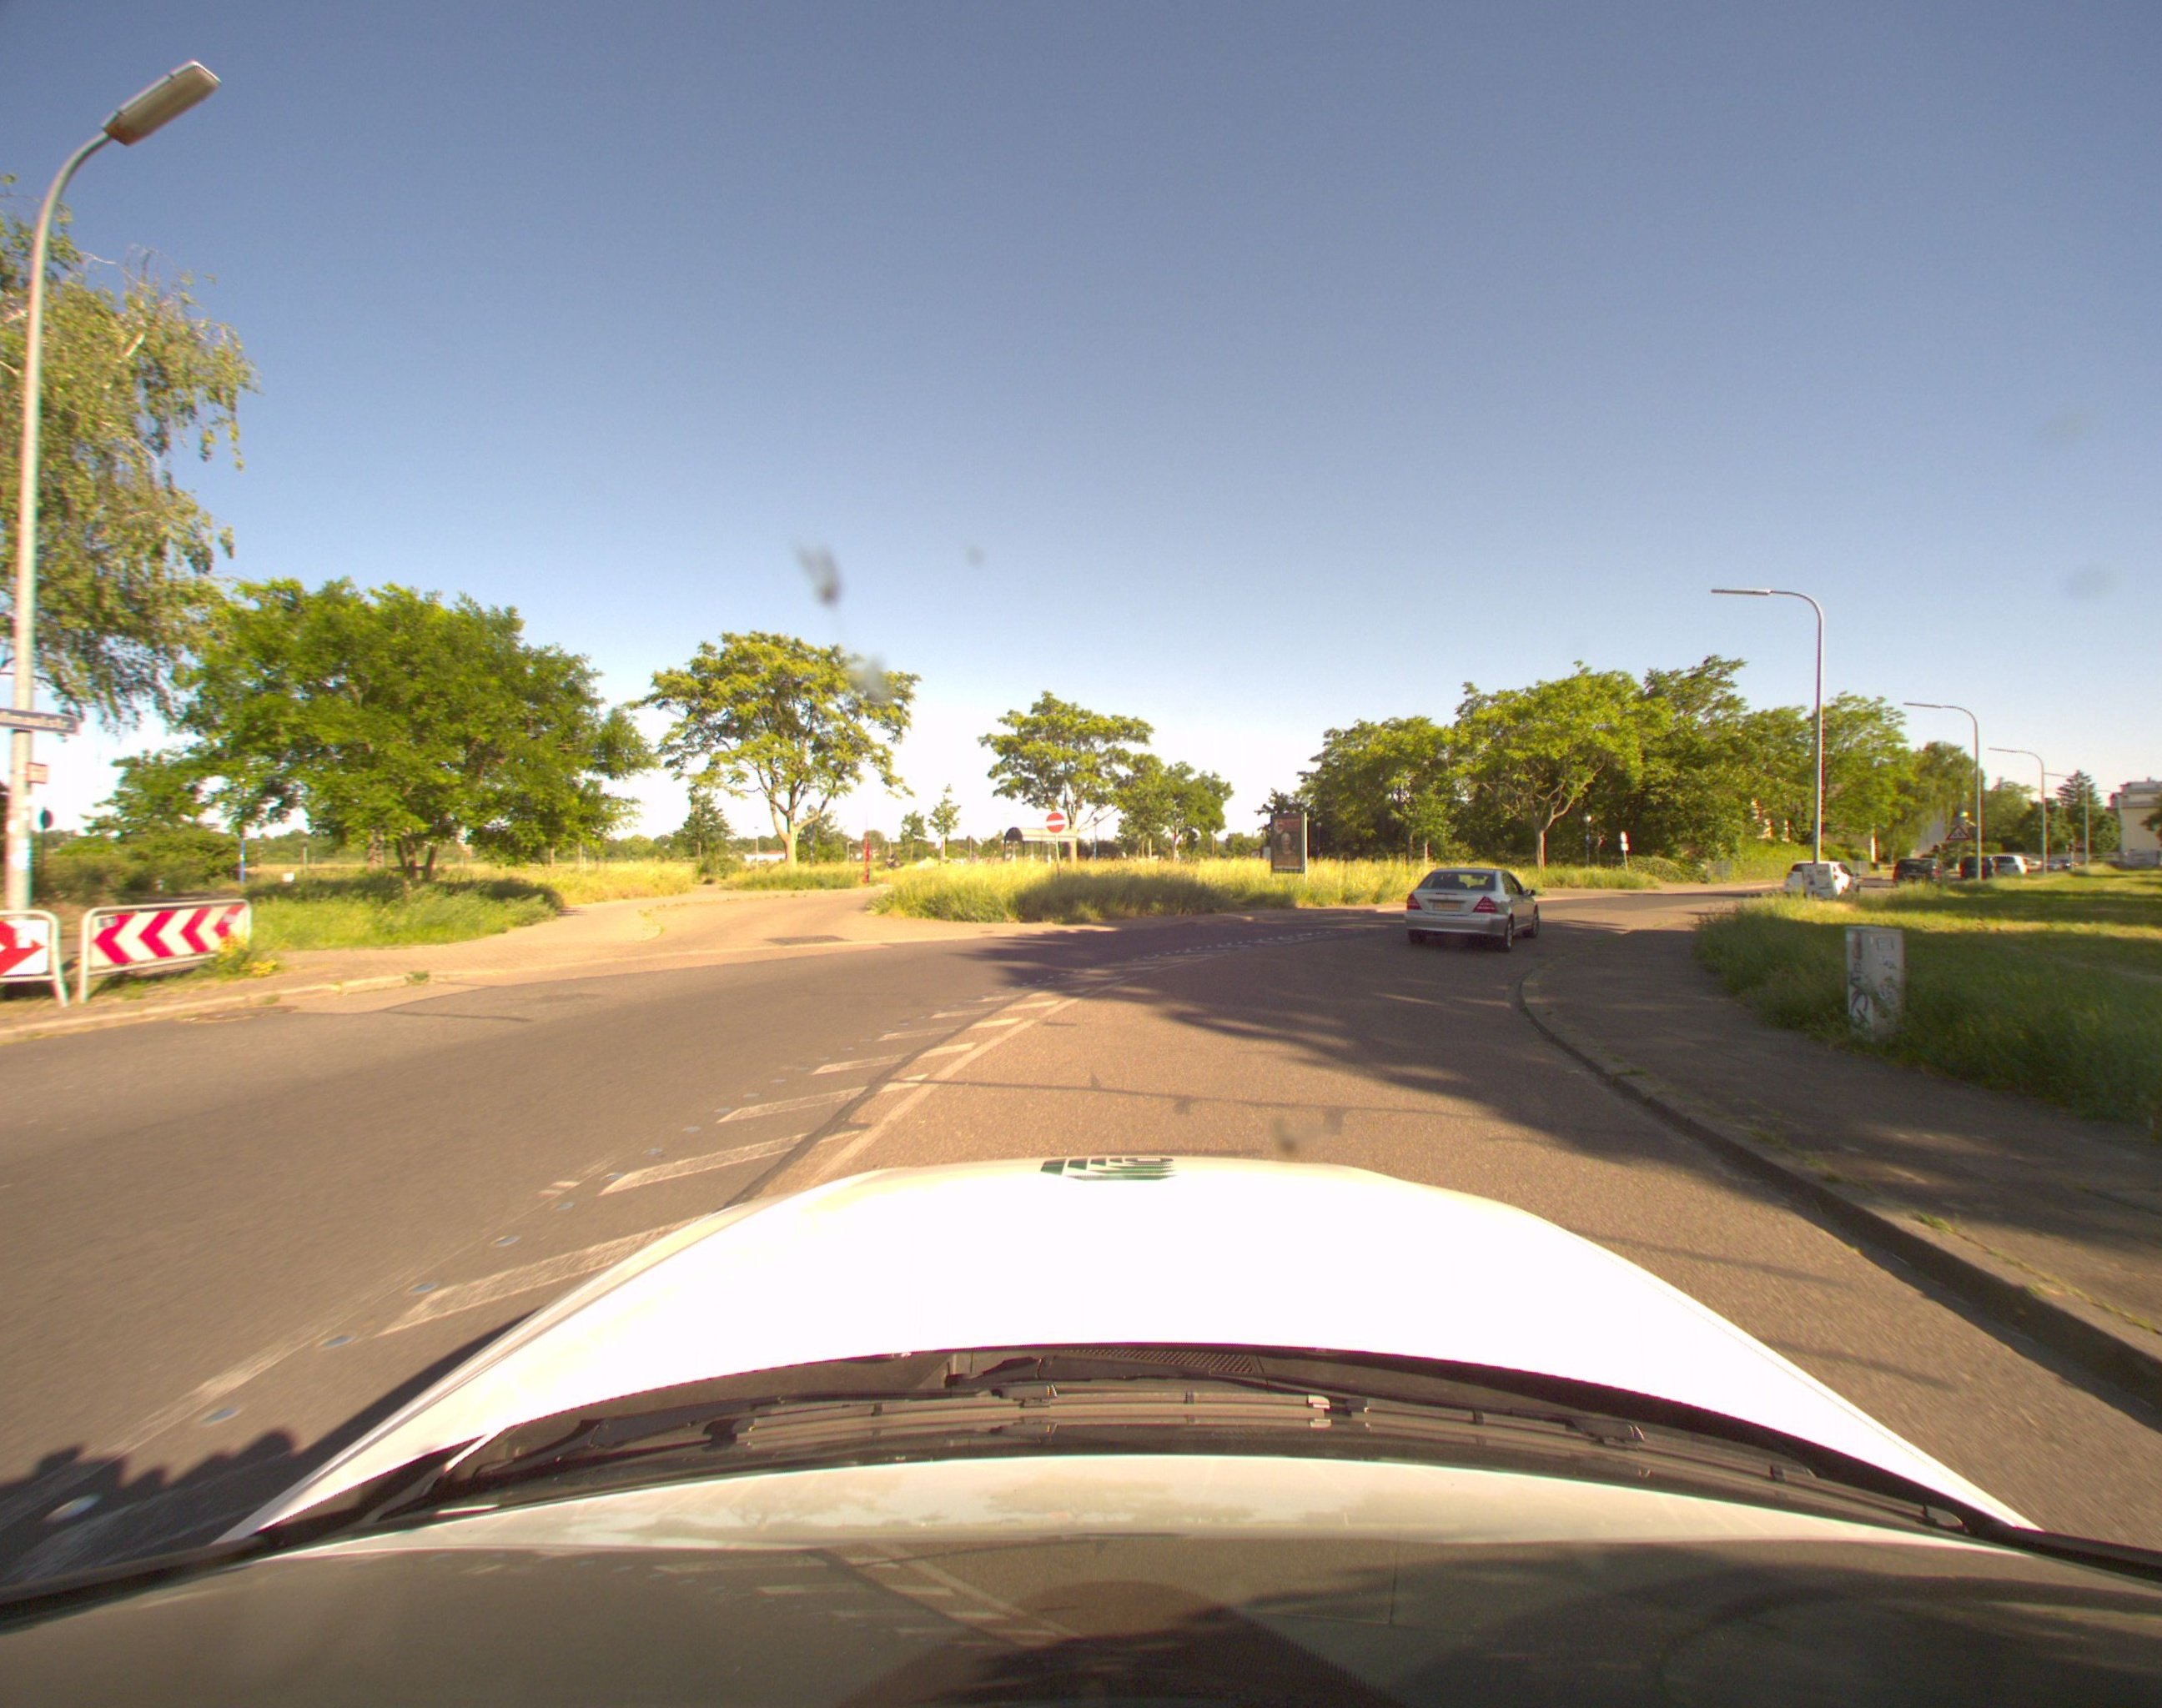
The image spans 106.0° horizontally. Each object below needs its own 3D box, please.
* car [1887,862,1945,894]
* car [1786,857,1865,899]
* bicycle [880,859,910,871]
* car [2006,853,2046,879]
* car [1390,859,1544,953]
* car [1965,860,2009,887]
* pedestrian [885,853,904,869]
[{"bbox_3d":[44.851,1.243,43.720,4.019,1.611,1.685,0,-1,-38],"label":"car"},{"bbox_3d":[28.911,0.889,31.602,3.759,1.479,1.708,1,1,-39],"label":"car"},{"bbox_3d":[-10.799,0.631,47.188,0.646,0.704,1.585,0,-1,45],"label":"bicycle"},{"bbox_3d":[72.019,0.860,62.027,3.868,1.851,1.685,0,2,-37],"label":"car"},{"bbox_3d":[7.452,0.859,15.492,1.799,1.463,4.388,1,0,37],"label":"car"},{"bbox_3d":[63.042,1.319,56.646,3.868,1.759,1.685,0,2,-37],"label":"car"},{"bbox_3d":[-10.816,0.393,47.166,0.694,0.940,0.805,0,0,45],"label":"pedestrian"}]
